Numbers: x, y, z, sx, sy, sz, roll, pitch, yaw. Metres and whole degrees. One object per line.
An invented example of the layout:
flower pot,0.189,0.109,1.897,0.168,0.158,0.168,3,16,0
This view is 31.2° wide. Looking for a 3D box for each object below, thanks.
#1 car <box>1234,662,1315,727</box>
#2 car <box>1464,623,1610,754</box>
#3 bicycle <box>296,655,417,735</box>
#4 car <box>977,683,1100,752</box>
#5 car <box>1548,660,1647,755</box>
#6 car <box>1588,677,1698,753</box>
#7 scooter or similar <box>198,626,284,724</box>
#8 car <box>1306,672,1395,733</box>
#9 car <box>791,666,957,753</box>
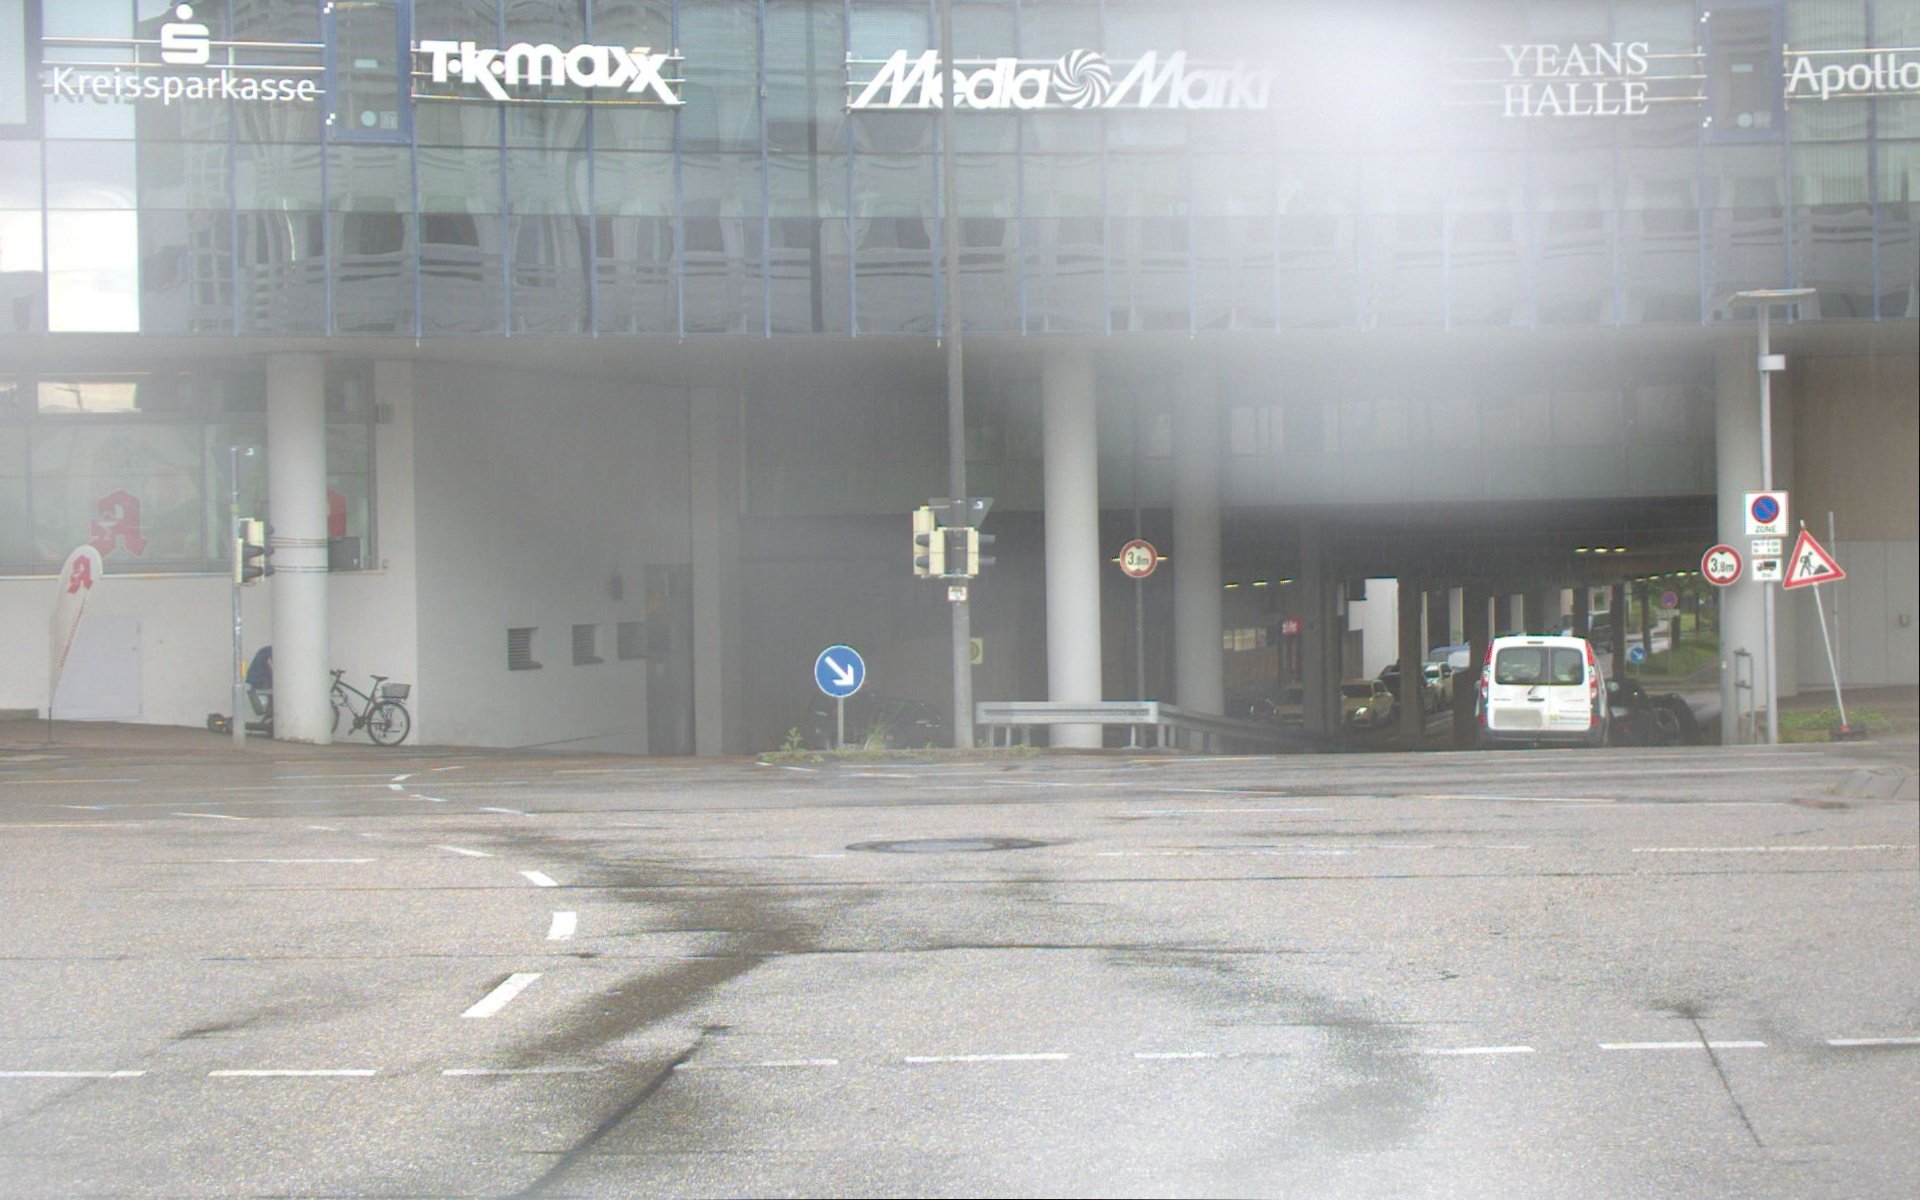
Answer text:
car,8.885,2.654,96.915,1.837,1.722,3.998,0,0,12
car,8.340,1.259,49.457,1.927,1.791,4.294,-1,-1,11
bicycle,-8.726,1.378,49.745,1.581,1.014,0.452,6,-2,-30
car,1.747,2.566,75.331,1.772,1.459,3.872,-1,-2,16
car,11.466,1.954,61.729,1.633,1.606,4.260,-2,-3,11
car,13.330,2.257,66.965,1.781,1.396,3.996,-1,-3,16
scooter or similar,-10.301,1.071,49.237,1.166,1.368,0.489,1,0,-14
car,11.691,3.041,102.673,1.995,1.658,3.997,1,0,16
car,-1.552,2.046,63.524,1.894,1.465,4.023,-1,-4,17
